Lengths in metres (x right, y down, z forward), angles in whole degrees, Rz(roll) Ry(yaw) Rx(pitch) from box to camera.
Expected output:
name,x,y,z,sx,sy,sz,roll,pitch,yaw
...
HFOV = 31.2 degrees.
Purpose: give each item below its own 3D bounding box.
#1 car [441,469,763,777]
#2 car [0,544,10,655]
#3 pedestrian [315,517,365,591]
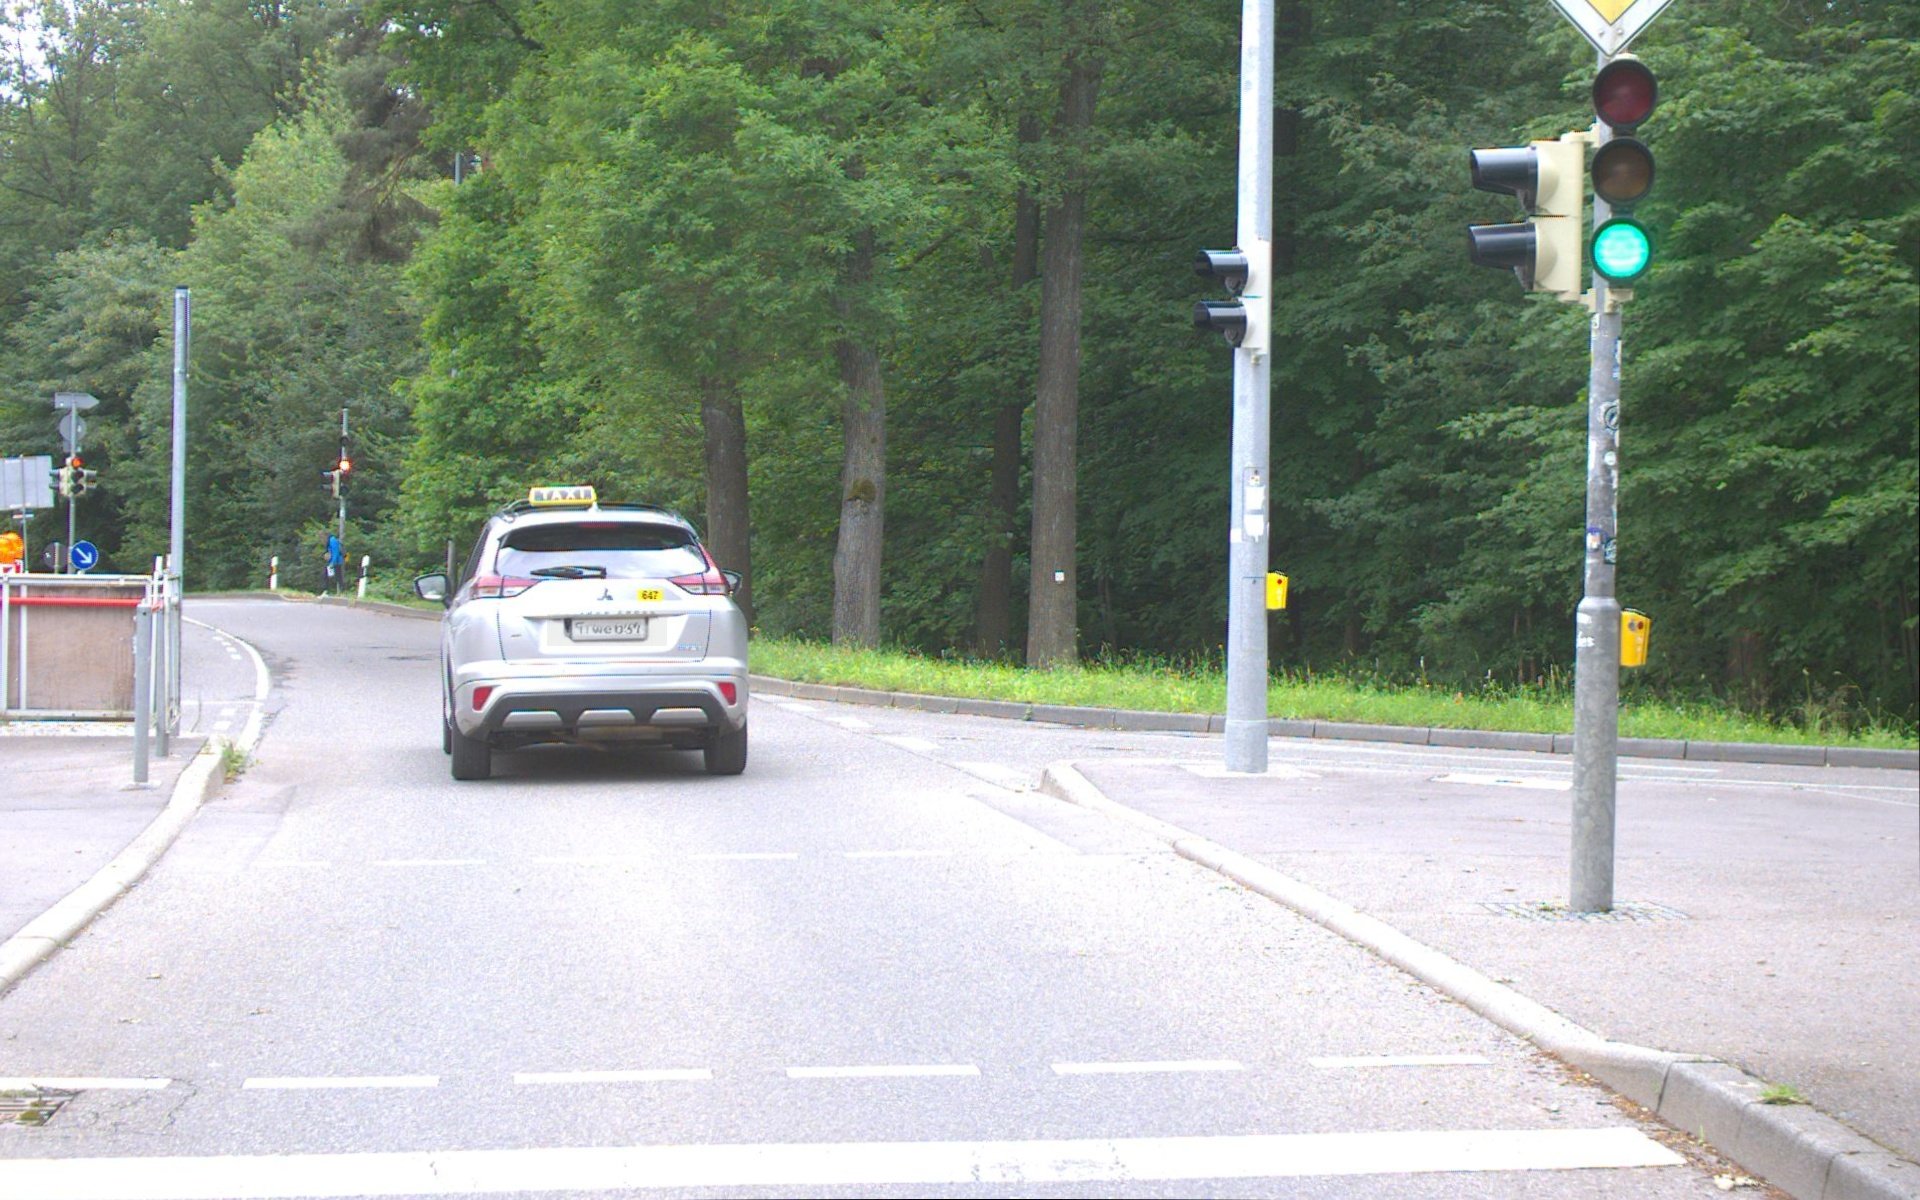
name,x,y,z,sx,sy,sz,roll,pitch,yaw
car,-2.242,0.086,21.932,1.846,1.774,4.001,0,1,-5
car,-13.840,0.005,46.050,1.807,1.504,4.309,-1,0,-11
pedestrian,-13.900,-1.040,77.036,1.047,1.643,1.069,-1,2,-12
